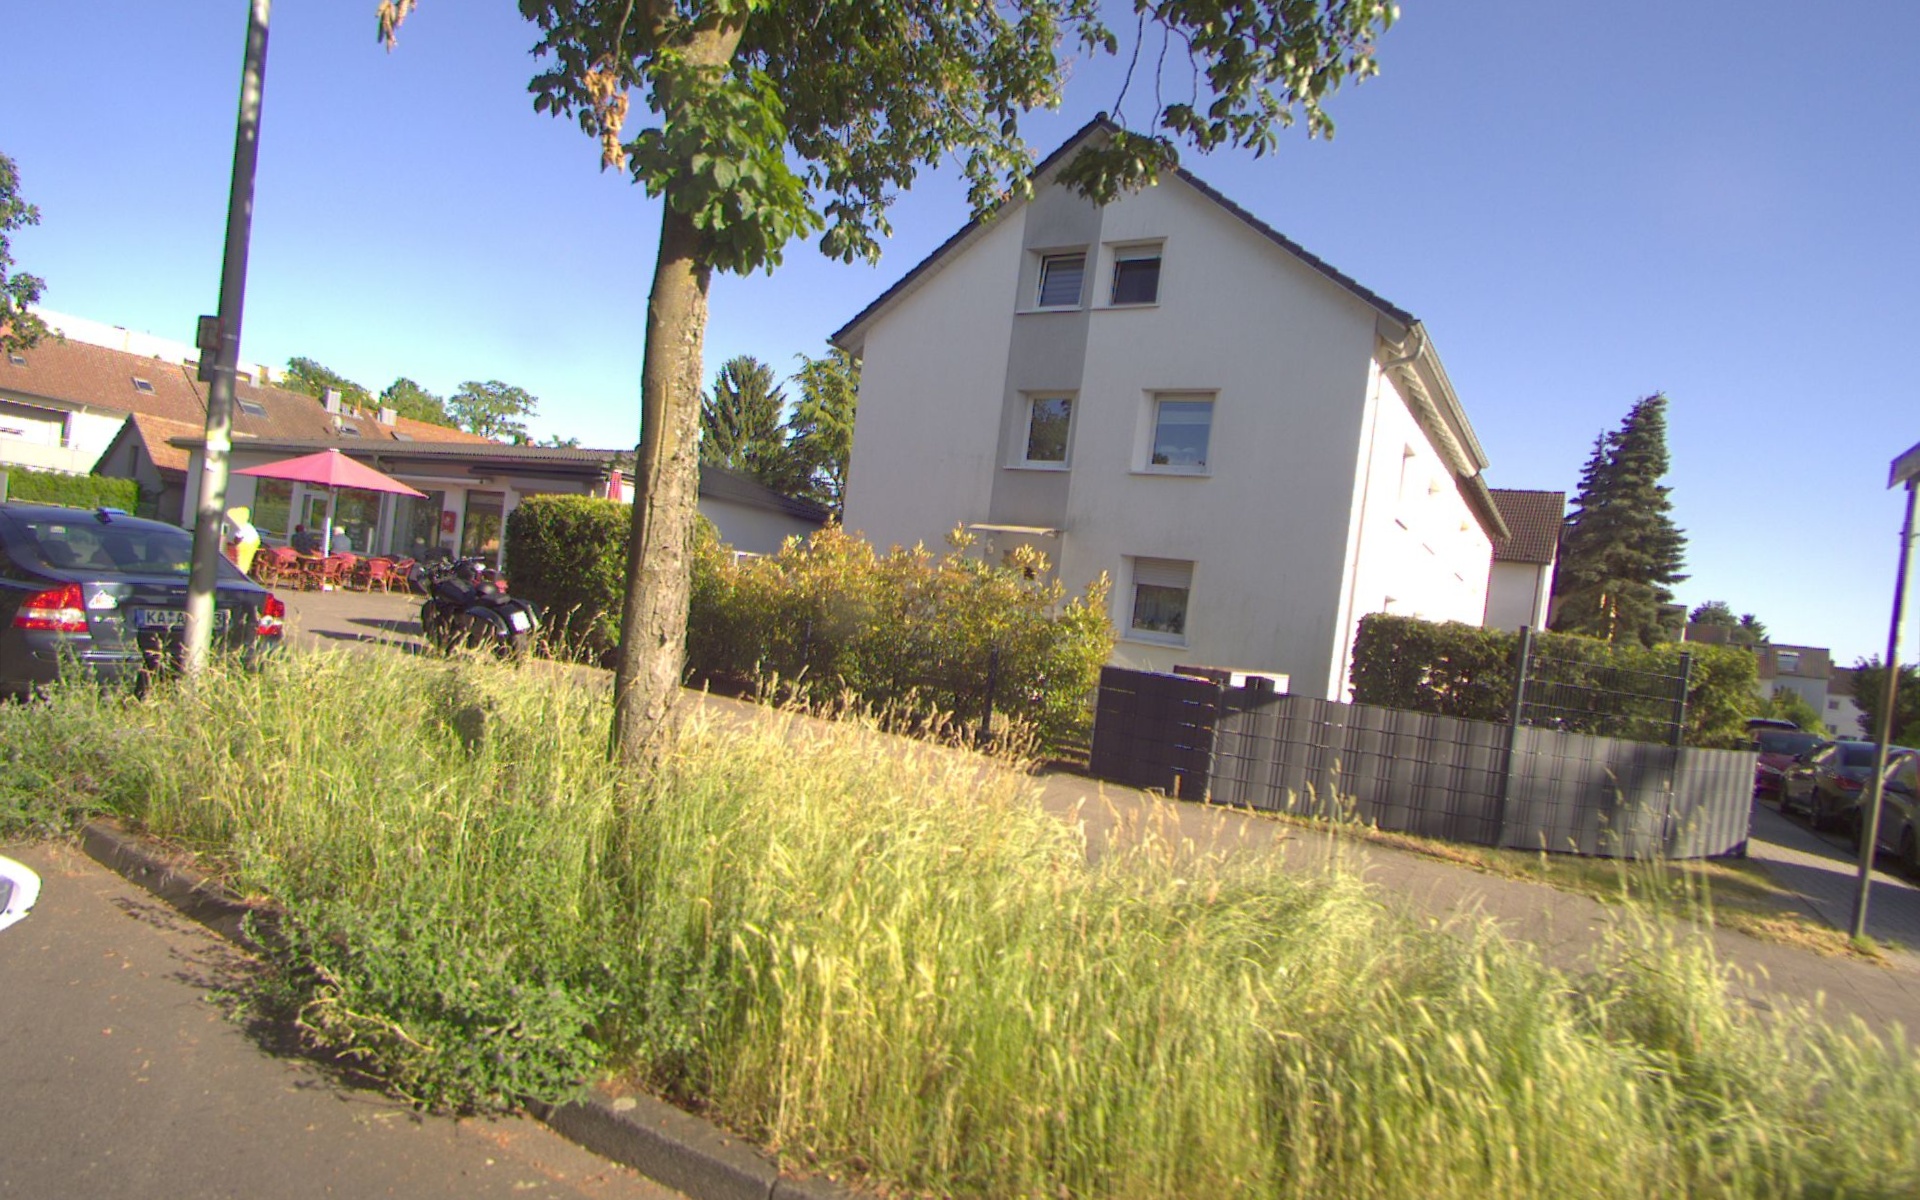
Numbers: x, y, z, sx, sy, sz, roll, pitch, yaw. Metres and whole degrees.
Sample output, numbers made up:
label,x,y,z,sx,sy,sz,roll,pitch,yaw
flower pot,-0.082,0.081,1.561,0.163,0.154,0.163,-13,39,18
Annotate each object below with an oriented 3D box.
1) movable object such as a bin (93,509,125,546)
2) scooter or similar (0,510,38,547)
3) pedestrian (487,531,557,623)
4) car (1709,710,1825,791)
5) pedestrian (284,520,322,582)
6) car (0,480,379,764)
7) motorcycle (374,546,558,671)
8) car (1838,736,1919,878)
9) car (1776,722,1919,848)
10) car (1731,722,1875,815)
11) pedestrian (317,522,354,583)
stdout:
label,x,y,z,sx,sy,sz,roll,pitch,yaw
movable object such as a bin,-25.496,-2.170,30.127,0.734,1.045,0.493,7,3,31
scooter or similar,-25.366,-1.929,26.889,1.385,0.868,0.369,7,0,19
pedestrian,-9.219,-0.470,21.175,0.824,1.800,0.824,7,0,20
car,20.615,3.783,25.836,1.620,1.627,3.690,7,-1,31
pedestrian,-15.835,-1.184,24.251,0.629,1.400,0.439,6,-2,37
car,-6.913,0.046,7.736,4.304,1.639,2.002,7,-4,26
motorcycle,-6.065,0.087,12.300,2.312,1.243,0.818,7,1,32
car,12.329,2.587,12.119,1.818,1.461,3.754,7,-1,31
car,14.358,2.873,16.026,1.398,1.340,3.823,8,2,30
car,17.924,3.509,21.559,1.620,1.475,3.690,7,-1,31
pedestrian,-15.462,-1.165,24.919,0.656,1.427,0.489,5,1,-30
